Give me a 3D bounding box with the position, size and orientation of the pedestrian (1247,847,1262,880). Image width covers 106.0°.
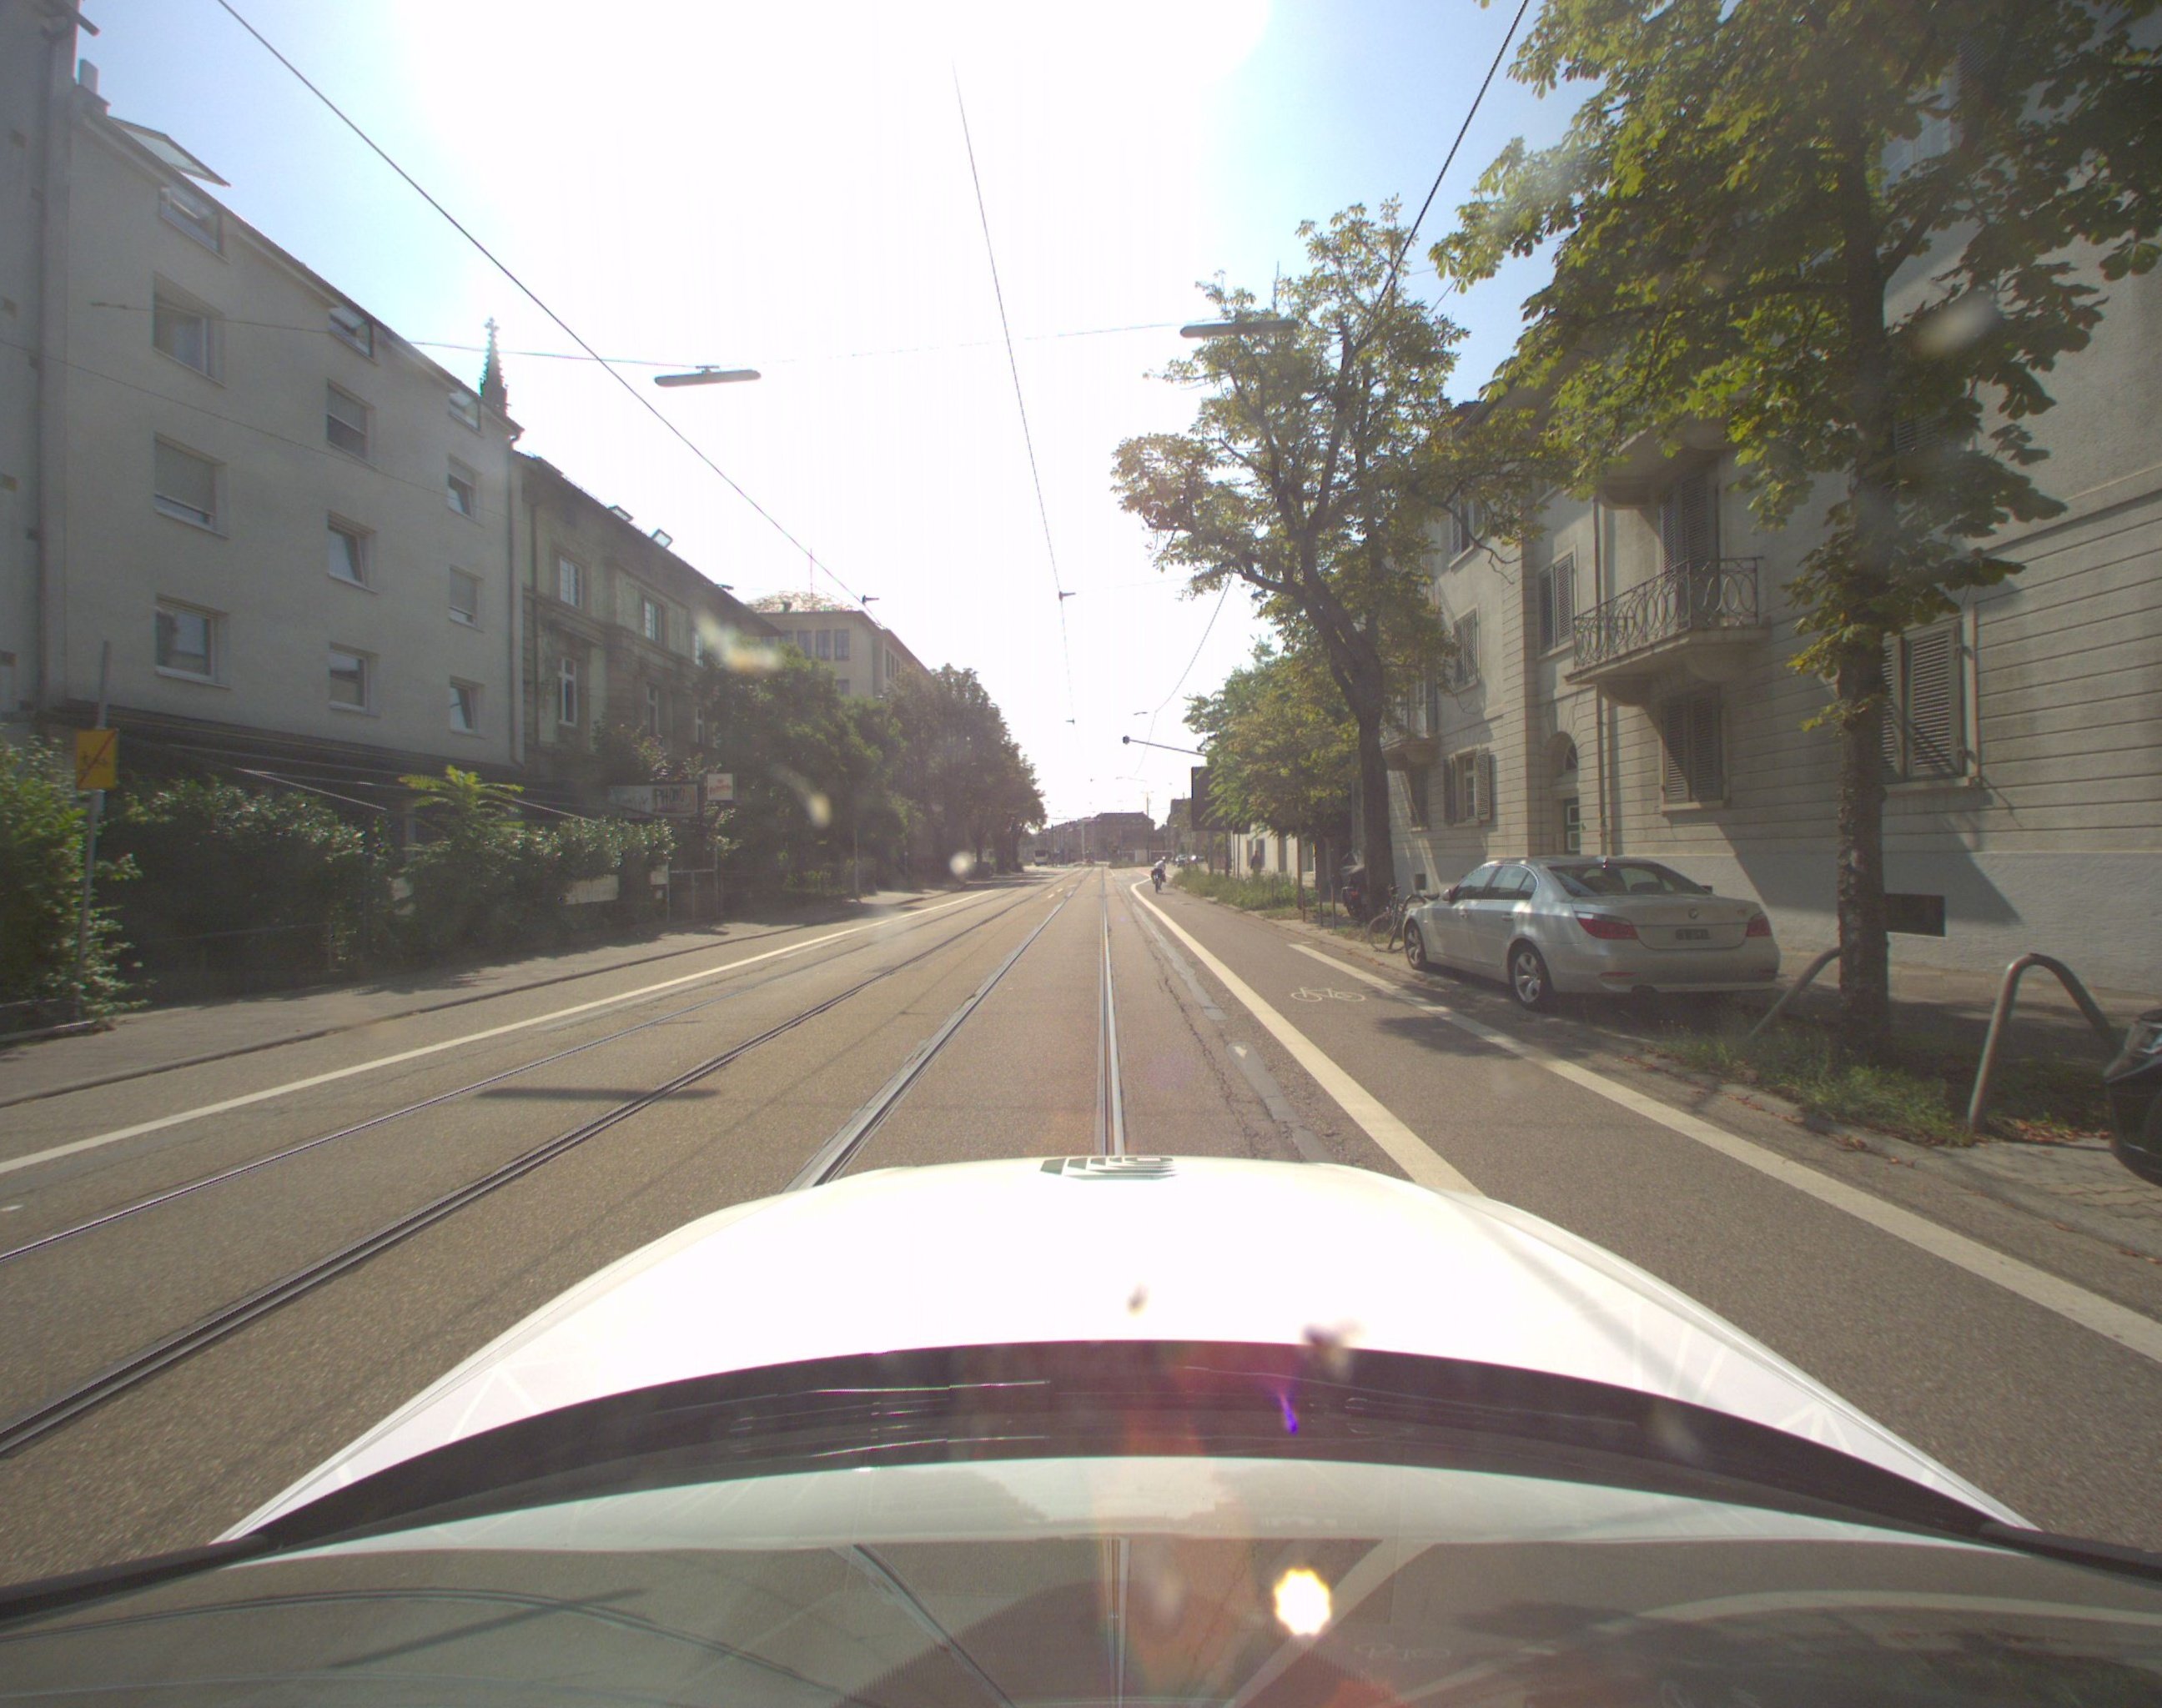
[{"bbox_3d":[9.098,0.486,42.674,0.689,1.732,0.580,-1,0,3],"label":"pedestrian"}]

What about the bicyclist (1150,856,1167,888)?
[{"bbox_3d":[3.531,0.805,37.158,0.742,1.411,0.962,-1,0,2],"label":"bicyclist"}]

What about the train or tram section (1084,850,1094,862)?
[{"bbox_3d":[2.566,0.571,250.007,2.846,3.548,17.745,0,0,1],"label":"train or tram section"}]

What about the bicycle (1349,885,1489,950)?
[{"bbox_3d":[5.340,0.996,12.962,1.914,0.952,0.721,-1,0,4],"label":"bicycle"}]

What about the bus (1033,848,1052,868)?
[{"bbox_3d":[-7.313,0.718,157.447,2.947,3.775,10.597,0,0,1],"label":"bus"}]

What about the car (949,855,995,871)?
[{"bbox_3d":[-10.781,0.901,80.876,4.182,1.496,1.801,-1,0,-36],"label":"car"}]

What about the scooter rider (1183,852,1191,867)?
[{"bbox_3d":[12.352,0.666,95.069,0.756,1.775,0.558,-1,0,18],"label":"scooter rider"}]

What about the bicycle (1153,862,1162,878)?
[{"bbox_3d":[5.802,1.191,61.994,0.600,1.163,1.814,-1,0,8],"label":"bicycle"}]

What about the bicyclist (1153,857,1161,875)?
[{"bbox_3d":[5.790,0.929,62.027,0.599,1.335,0.661,-1,0,7],"label":"bicyclist"}]

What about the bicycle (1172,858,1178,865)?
[{"bbox_3d":[14.968,1.188,129.617,0.440,1.117,1.455,-2,-1,30],"label":"bicycle"}]

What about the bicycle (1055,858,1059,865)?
[{"bbox_3d":[-4.231,1.274,144.058,0.604,1.222,1.708,-1,0,5],"label":"bicycle"}]

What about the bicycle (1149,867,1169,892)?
[{"bbox_3d":[3.549,1.149,37.103,0.736,1.049,2.234,-1,0,2],"label":"bicycle"}]

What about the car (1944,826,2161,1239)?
[{"bbox_3d":[4.855,0.629,1.509,1.659,1.507,4.429,-2,0,-3],"label":"car"}]

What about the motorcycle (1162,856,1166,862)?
[{"bbox_3d":[17.108,1.124,167.316,0.600,1.210,2.261,-1,0,12],"label":"motorcycle"}]

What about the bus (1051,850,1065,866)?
[{"bbox_3d":[-5.656,1.035,202.664,2.698,3.727,10.426,0,0,3],"label":"bus"}]

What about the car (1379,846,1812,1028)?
[{"bbox_3d":[5.142,0.688,9.127,1.777,1.450,4.749,-2,0,-1],"label":"car"}]

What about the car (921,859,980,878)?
[{"bbox_3d":[-10.522,1.185,65.719,4.437,1.462,1.806,0,0,-26],"label":"car"}]

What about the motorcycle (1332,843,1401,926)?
[{"bbox_3d":[5.758,0.585,16.563,0.880,1.553,2.418,-2,-1,9],"label":"motorcycle"}]

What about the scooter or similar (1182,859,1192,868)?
[{"bbox_3d":[12.335,1.100,94.672,0.766,0.926,1.628,0,0,19],"label":"scooter or similar"}]

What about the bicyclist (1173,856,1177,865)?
[{"bbox_3d":[15.045,1.036,129.747,0.445,1.421,0.499,-2,-1,30],"label":"bicyclist"}]
